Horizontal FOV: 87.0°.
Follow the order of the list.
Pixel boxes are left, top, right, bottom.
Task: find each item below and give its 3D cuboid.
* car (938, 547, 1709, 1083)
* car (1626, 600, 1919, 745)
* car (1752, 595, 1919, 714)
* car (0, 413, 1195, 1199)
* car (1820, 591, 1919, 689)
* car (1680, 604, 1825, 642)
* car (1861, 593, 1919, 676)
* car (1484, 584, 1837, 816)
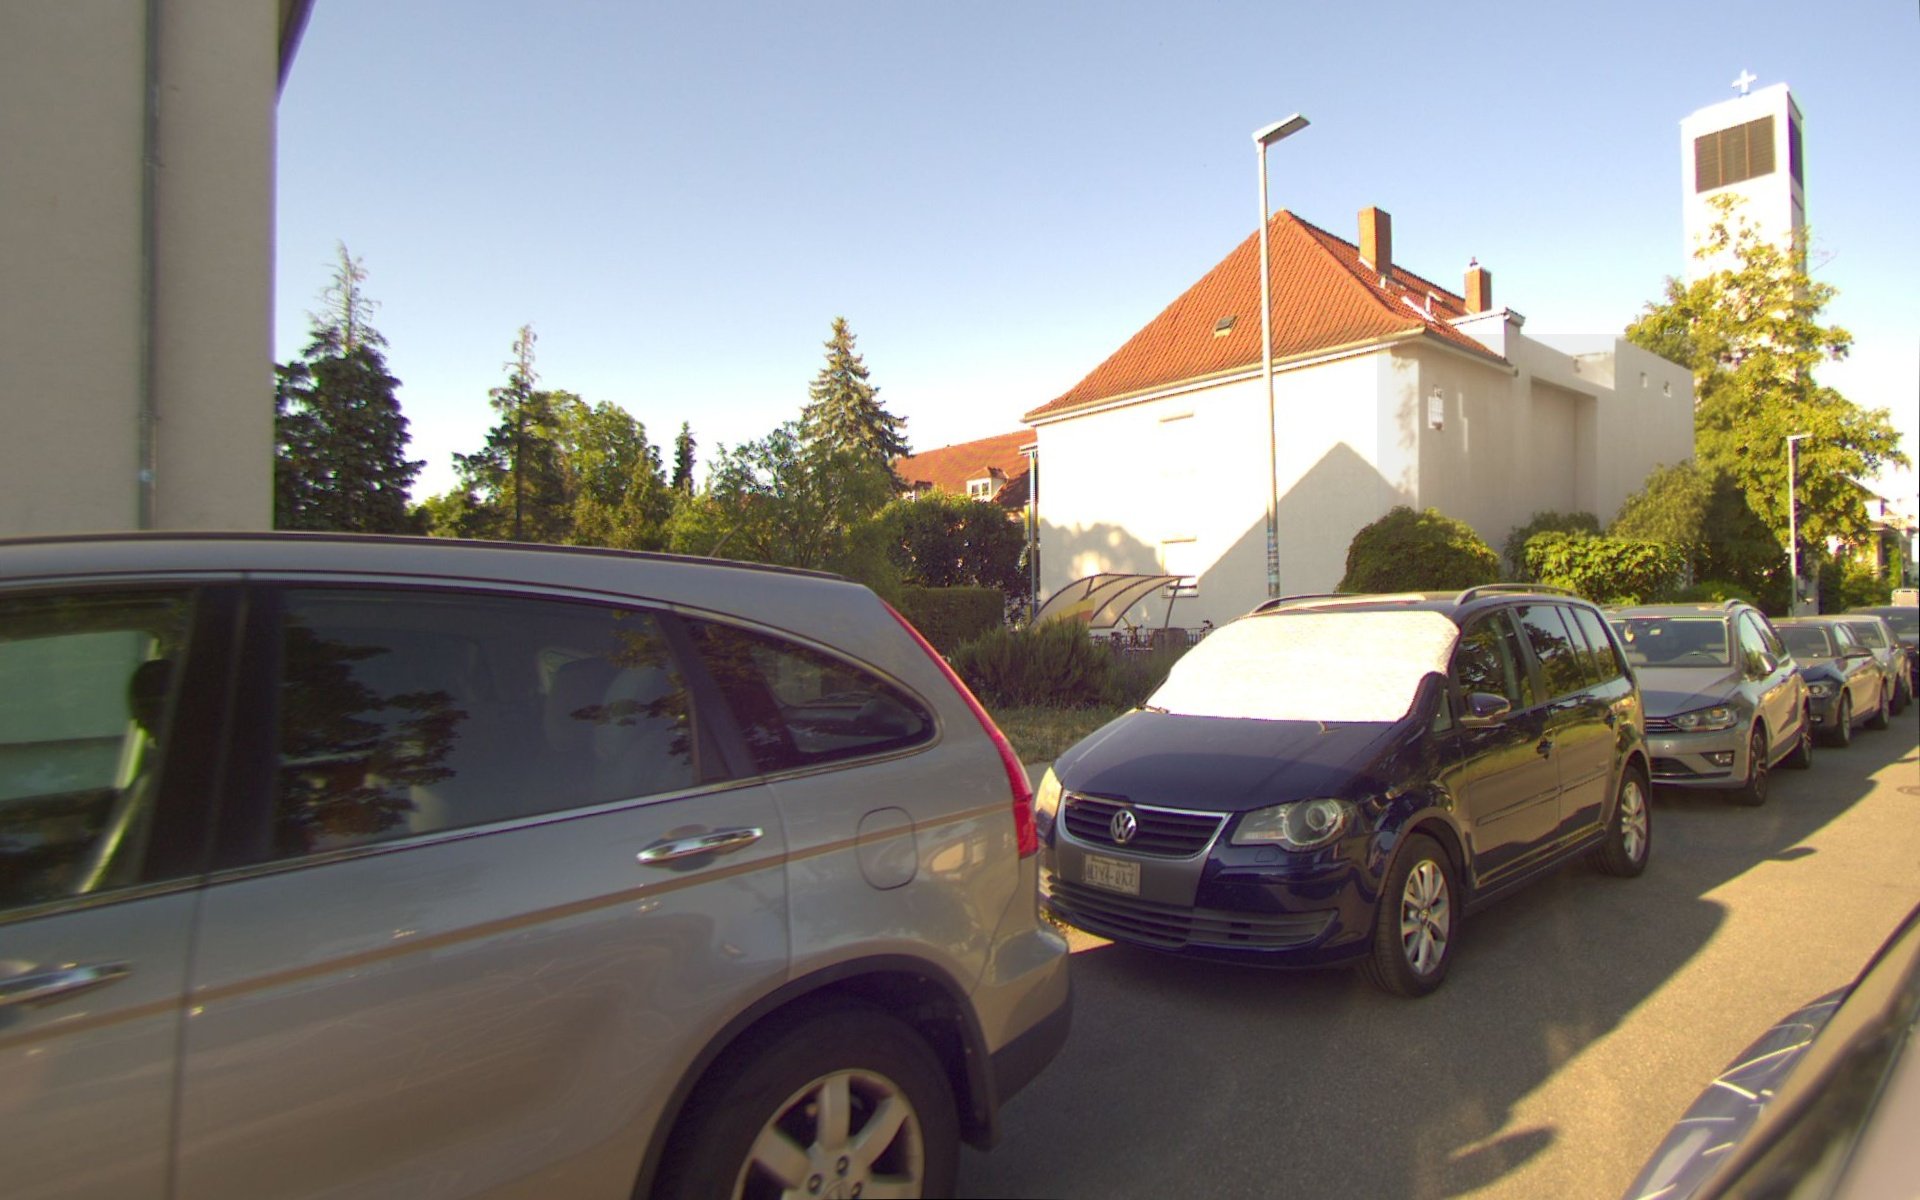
[{"bbox_3d":[2.257,0.666,5.368,4.682,1.656,1.768,-1,-2,-42],"label":"car"},{"bbox_3d":[10.261,0.789,12.613,4.480,1.481,1.997,0,-3,-40],"label":"car"},{"bbox_3d":[13.940,0.801,15.790,4.137,1.569,1.728,-1,-5,-43],"label":"car"},{"bbox_3d":[-1.720,0.630,1.798,4.674,1.664,1.779,-1,-1,-42],"label":"car"},{"bbox_3d":[18.051,0.705,19.209,4.735,1.679,1.857,0,-3,-41],"label":"car"},{"bbox_3d":[35.880,1.070,45.901,1.969,1.504,4.853,-4,1,-41],"label":"car"},{"bbox_3d":[22.077,0.727,22.854,4.541,1.743,1.935,0,-4,-41],"label":"car"},{"bbox_3d":[6.402,0.707,9.038,4.343,1.581,1.725,0,-2,-44],"label":"car"}]
